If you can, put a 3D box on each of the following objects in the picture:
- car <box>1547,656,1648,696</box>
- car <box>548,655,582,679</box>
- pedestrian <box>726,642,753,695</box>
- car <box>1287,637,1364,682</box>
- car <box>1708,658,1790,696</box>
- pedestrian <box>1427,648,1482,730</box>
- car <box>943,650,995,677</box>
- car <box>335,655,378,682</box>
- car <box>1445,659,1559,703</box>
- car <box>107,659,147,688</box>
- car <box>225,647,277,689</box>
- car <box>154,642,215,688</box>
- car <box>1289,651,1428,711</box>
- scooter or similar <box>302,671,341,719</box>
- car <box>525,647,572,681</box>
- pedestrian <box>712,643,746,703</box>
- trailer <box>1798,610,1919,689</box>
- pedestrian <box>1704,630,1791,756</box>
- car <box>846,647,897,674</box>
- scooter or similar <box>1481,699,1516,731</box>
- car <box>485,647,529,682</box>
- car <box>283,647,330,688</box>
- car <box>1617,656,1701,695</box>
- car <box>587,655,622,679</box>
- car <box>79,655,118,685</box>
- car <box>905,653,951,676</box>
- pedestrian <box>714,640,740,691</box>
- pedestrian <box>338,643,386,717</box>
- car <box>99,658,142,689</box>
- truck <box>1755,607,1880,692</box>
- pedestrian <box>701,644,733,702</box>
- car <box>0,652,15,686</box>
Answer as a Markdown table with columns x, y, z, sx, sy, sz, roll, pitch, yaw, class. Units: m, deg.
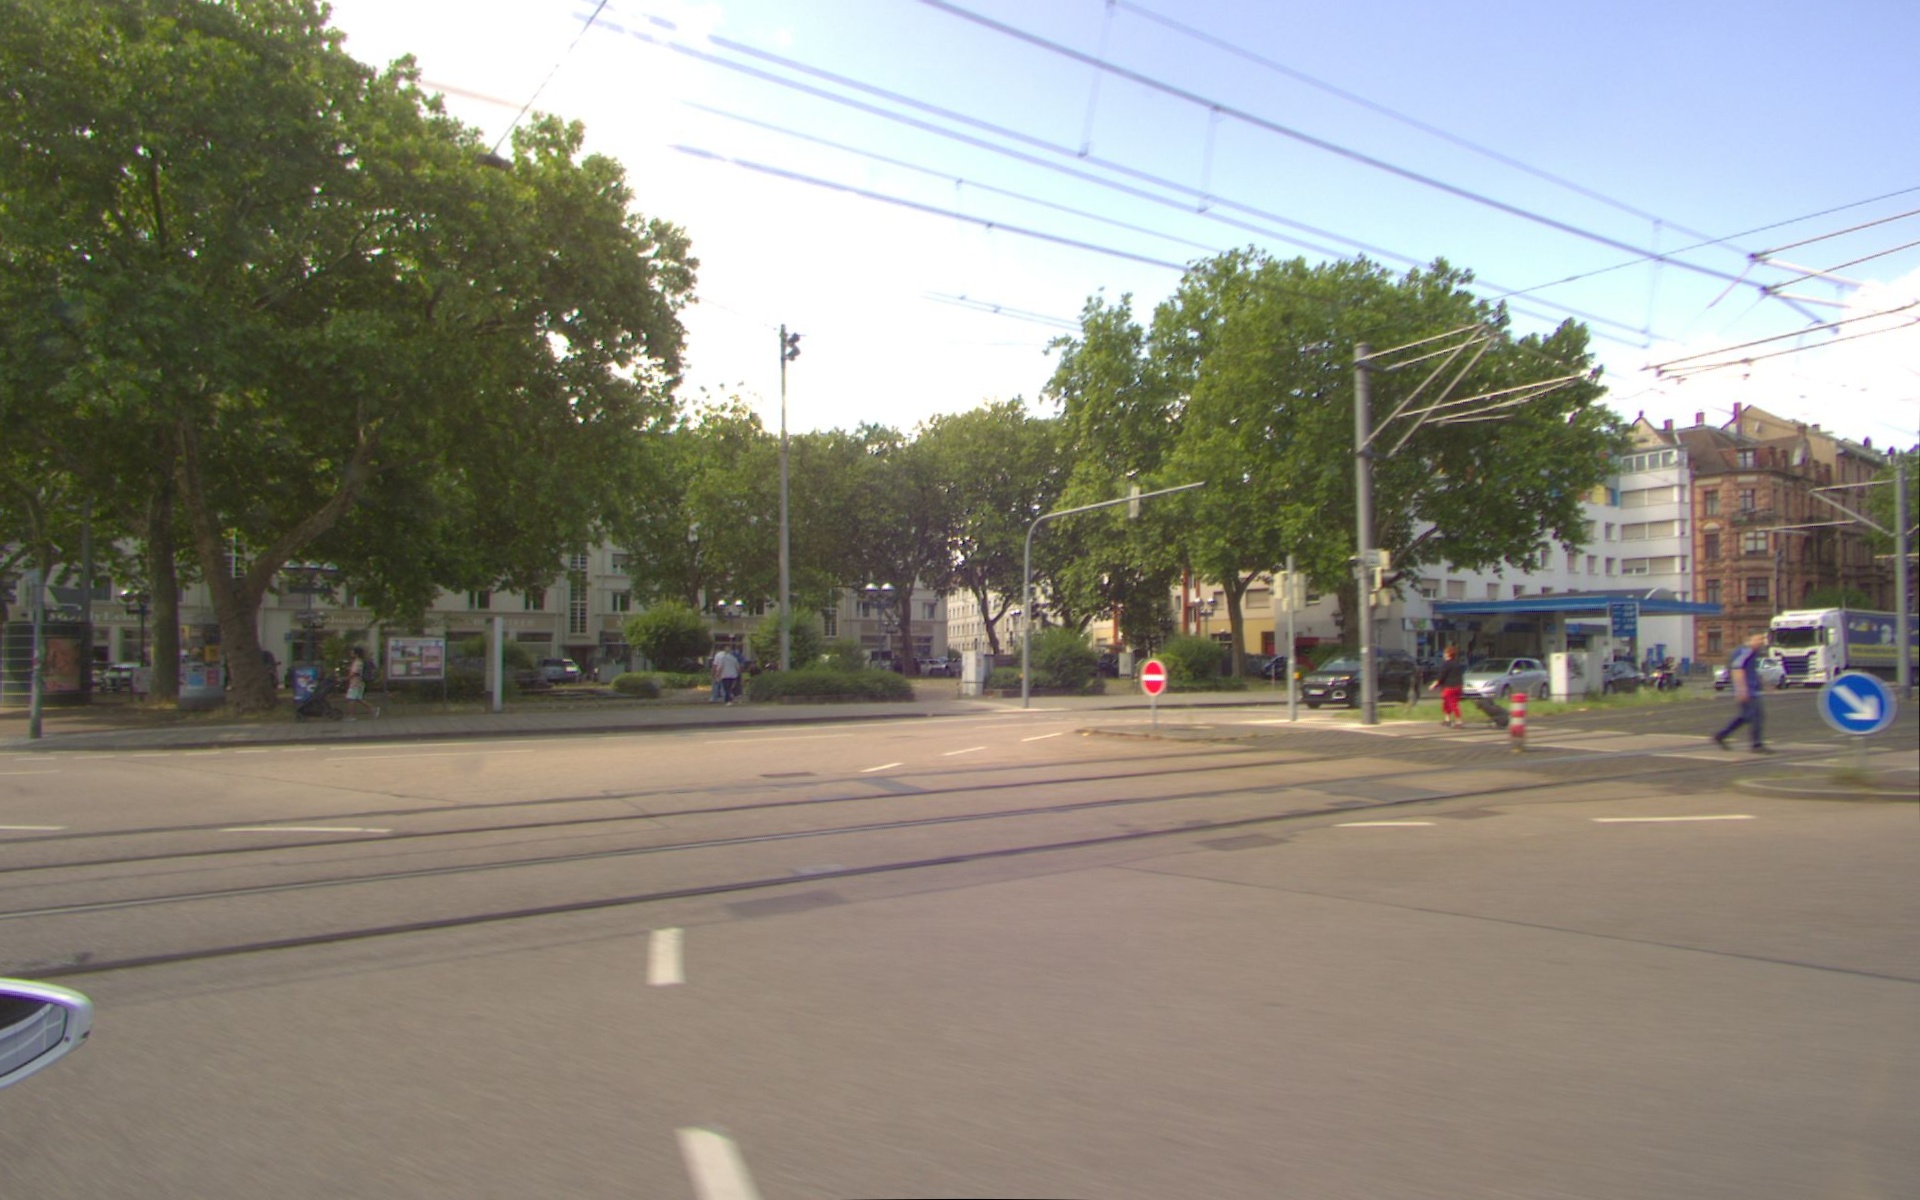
| x | y | z | sx | sy | sz | roll | pitch | yaw | class |
| --- | --- | --- | --- | --- | --- | --- | --- | --- | --- |
| 25.294 | 2.993 | 39.717 | 3.919 | 1.464 | 1.845 | 1 | -3 | -32 | car |
| -28.466 | 4.821 | 72.127 | 1.720 | 1.657 | 3.981 | 1 | -3 | -30 | car |
| -7.504 | 2.332 | 34.093 | 0.597 | 1.772 | 0.695 | -1 | -2 | 33 | pedestrian |
| 20.771 | 3.358 | 56.877 | 3.946 | 2.450 | 2.102 | 2 | -3 | -32 | car |
| 38.382 | 3.704 | 48.675 | 4.078 | 1.726 | 1.845 | 2 | -3 | -32 | car |
| 9.468 | 1.688 | 19.171 | 0.652 | 1.511 | 0.768 | 2 | -1 | -45 | pedestrian |
| 0.593 | 4.341 | 68.955 | 1.843 | 1.822 | 3.981 | 1 | -3 | -30 | car |
| -33.526 | 3.780 | 55.609 | 1.973 | 1.439 | 3.979 | 2 | -4 | -32 | car |
| 19.410 | 2.868 | 35.810 | 4.269 | 1.484 | 1.725 | 2 | -3 | -33 | car |
| -41.654 | 3.663 | 50.129 | 1.454 | 1.406 | 3.211 | 2 | -4 | -39 | car |
| -37.503 | 3.591 | 53.060 | 1.973 | 2.101 | 3.979 | 2 | -4 | -32 | car |
| -39.668 | 3.326 | 51.336 | 1.973 | 2.209 | 4.235 | 2 | -4 | -32 | car |
| 12.557 | 2.505 | 31.520 | 4.359 | 1.748 | 1.845 | 2 | -3 | -32 | car |
| -14.476 | 2.143 | 22.707 | 0.699 | 1.069 | 0.488 | 2 | -3 | -31 | scooter or similar |
| -25.485 | 3.938 | 61.963 | 1.974 | 2.038 | 3.976 | 2 | -4 | -34 | car |
| -6.910 | 2.170 | 29.960 | 0.683 | 1.744 | 0.716 | -1 | -2 | 34 | pedestrian |
| 51.543 | 2.812 | 56.356 | 11.485 | 4.128 | 2.904 | 2 | -3 | -30 | trailer |
| 11.363 | 1.316 | 14.452 | 0.734 | 1.753 | 0.768 | 2 | -2 | -33 | pedestrian |
| -6.576 | 4.479 | 73.916 | 2.075 | 1.929 | 4.470 | 1 | -3 | -30 | car |
| 10.091 | 2.155 | 18.772 | 0.307 | 0.542 | 0.516 | 2 | -2 | -45 | scooter or similar |
| -27.399 | 3.862 | 60.555 | 1.972 | 2.038 | 3.980 | 1 | -3 | -31 | car |
| -35.264 | 3.640 | 54.094 | 1.973 | 2.101 | 3.979 | 2 | -4 | -32 | car |
| 30.024 | 3.221 | 43.009 | 3.703 | 1.582 | 1.677 | 2 | -3 | -33 | car |
| -26.139 | 4.891 | 73.536 | 1.720 | 1.657 | 3.981 | 1 | -3 | -30 | car |
| -50.143 | 4.044 | 58.339 | 1.453 | 1.686 | 3.046 | 2 | -4 | -36 | car |
| -2.502 | 4.924 | 76.621 | 1.829 | 1.701 | 3.981 | 1 | -3 | -30 | car |
| -8.254 | 2.320 | 35.489 | 0.598 | 1.772 | 0.695 | -1 | -2 | 34 | pedestrian |
| -13.786 | 1.839 | 23.107 | 0.910 | 1.666 | 0.567 | 2 | -3 | -31 | pedestrian |
| -39.409 | 3.418 | 46.979 | 1.455 | 1.406 | 3.041 | 3 | -4 | -41 | car |
| 45.084 | 2.607 | 52.637 | 6.497 | 4.200 | 2.904 | 1 | -3 | -30 | truck |
| -7.562 | 2.259 | 31.223 | 0.683 | 1.786 | 0.667 | -1 | -2 | 34 | pedestrian |
| -46.701 | 3.283 | 47.479 | 2.008 | 1.620 | 4.512 | 2 | -4 | -34 | car |
